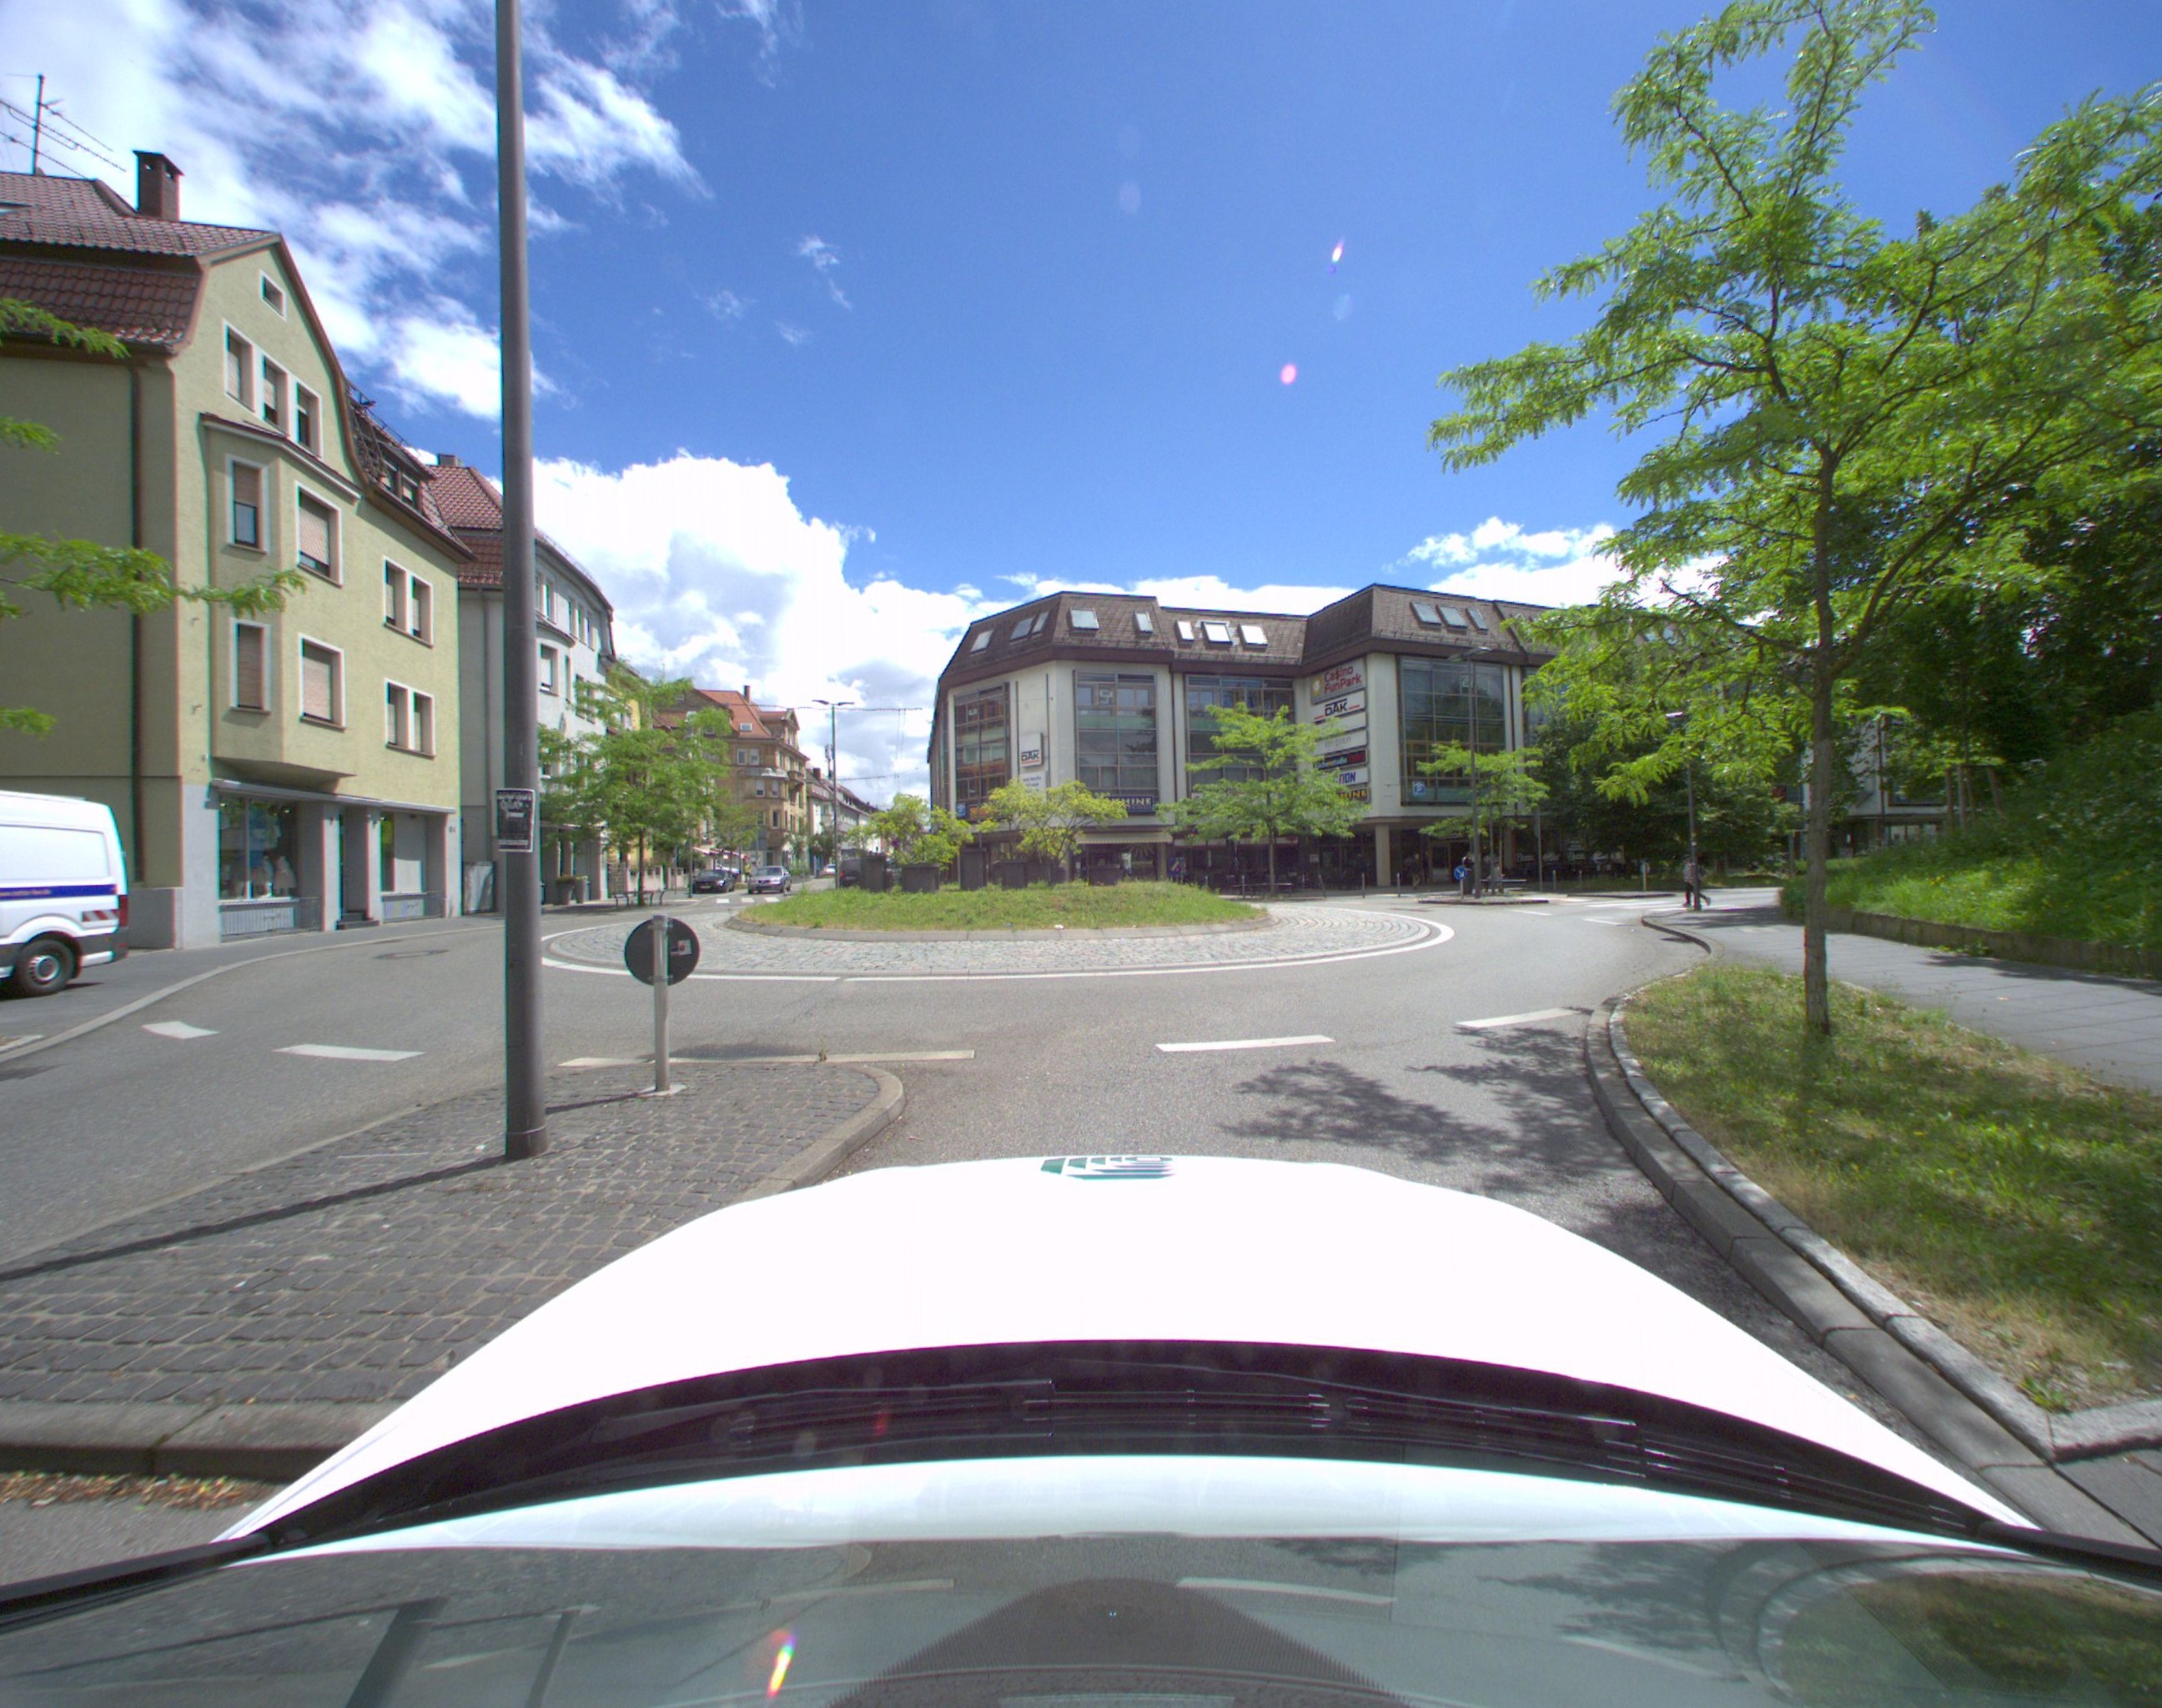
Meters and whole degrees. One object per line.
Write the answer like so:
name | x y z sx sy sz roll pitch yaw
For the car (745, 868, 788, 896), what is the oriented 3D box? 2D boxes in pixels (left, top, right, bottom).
car | -16.839 1.490 43.800 1.713 1.354 3.980 0 0 -15

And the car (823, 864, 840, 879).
car | -28.867 1.992 94.254 1.713 1.712 3.980 0 0 -15

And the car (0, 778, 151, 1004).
car | -13.147 0.412 8.229 1.971 2.607 5.898 0 -1 -16

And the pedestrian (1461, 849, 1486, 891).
pedestrian | 17.762 0.712 36.864 0.617 1.818 0.694 -5 1 -17

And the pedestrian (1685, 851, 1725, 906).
pedestrian | 18.302 0.709 23.900 0.756 1.554 0.784 -1 -1 25

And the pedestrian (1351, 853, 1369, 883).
pedestrian | 15.518 0.779 45.269 0.698 1.674 0.613 0 -1 -23

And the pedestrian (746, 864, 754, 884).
pedestrian | -27.794 1.664 68.301 0.552 1.686 0.513 0 -1 -15

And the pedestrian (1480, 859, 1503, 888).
pedestrian | 18.051 0.856 35.803 0.615 1.285 0.695 0 -1 -10

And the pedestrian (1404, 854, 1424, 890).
pedestrian | 15.783 0.835 38.582 0.701 1.674 0.611 0 -1 -35

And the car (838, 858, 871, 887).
car | -13.955 1.111 50.051 1.828 1.707 4.414 1 -1 -17

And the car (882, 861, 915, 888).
car | -12.659 1.380 56.616 1.823 1.731 4.221 -2 -1 -8

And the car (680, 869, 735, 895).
car | -20.553 1.507 44.977 1.710 1.245 4.396 -1 0 -10

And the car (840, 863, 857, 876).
car | -25.003 1.684 87.667 1.713 1.354 3.980 0 0 -15

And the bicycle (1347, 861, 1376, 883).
bicycle | 15.535 1.003 45.122 1.525 1.168 0.498 0 -2 22
